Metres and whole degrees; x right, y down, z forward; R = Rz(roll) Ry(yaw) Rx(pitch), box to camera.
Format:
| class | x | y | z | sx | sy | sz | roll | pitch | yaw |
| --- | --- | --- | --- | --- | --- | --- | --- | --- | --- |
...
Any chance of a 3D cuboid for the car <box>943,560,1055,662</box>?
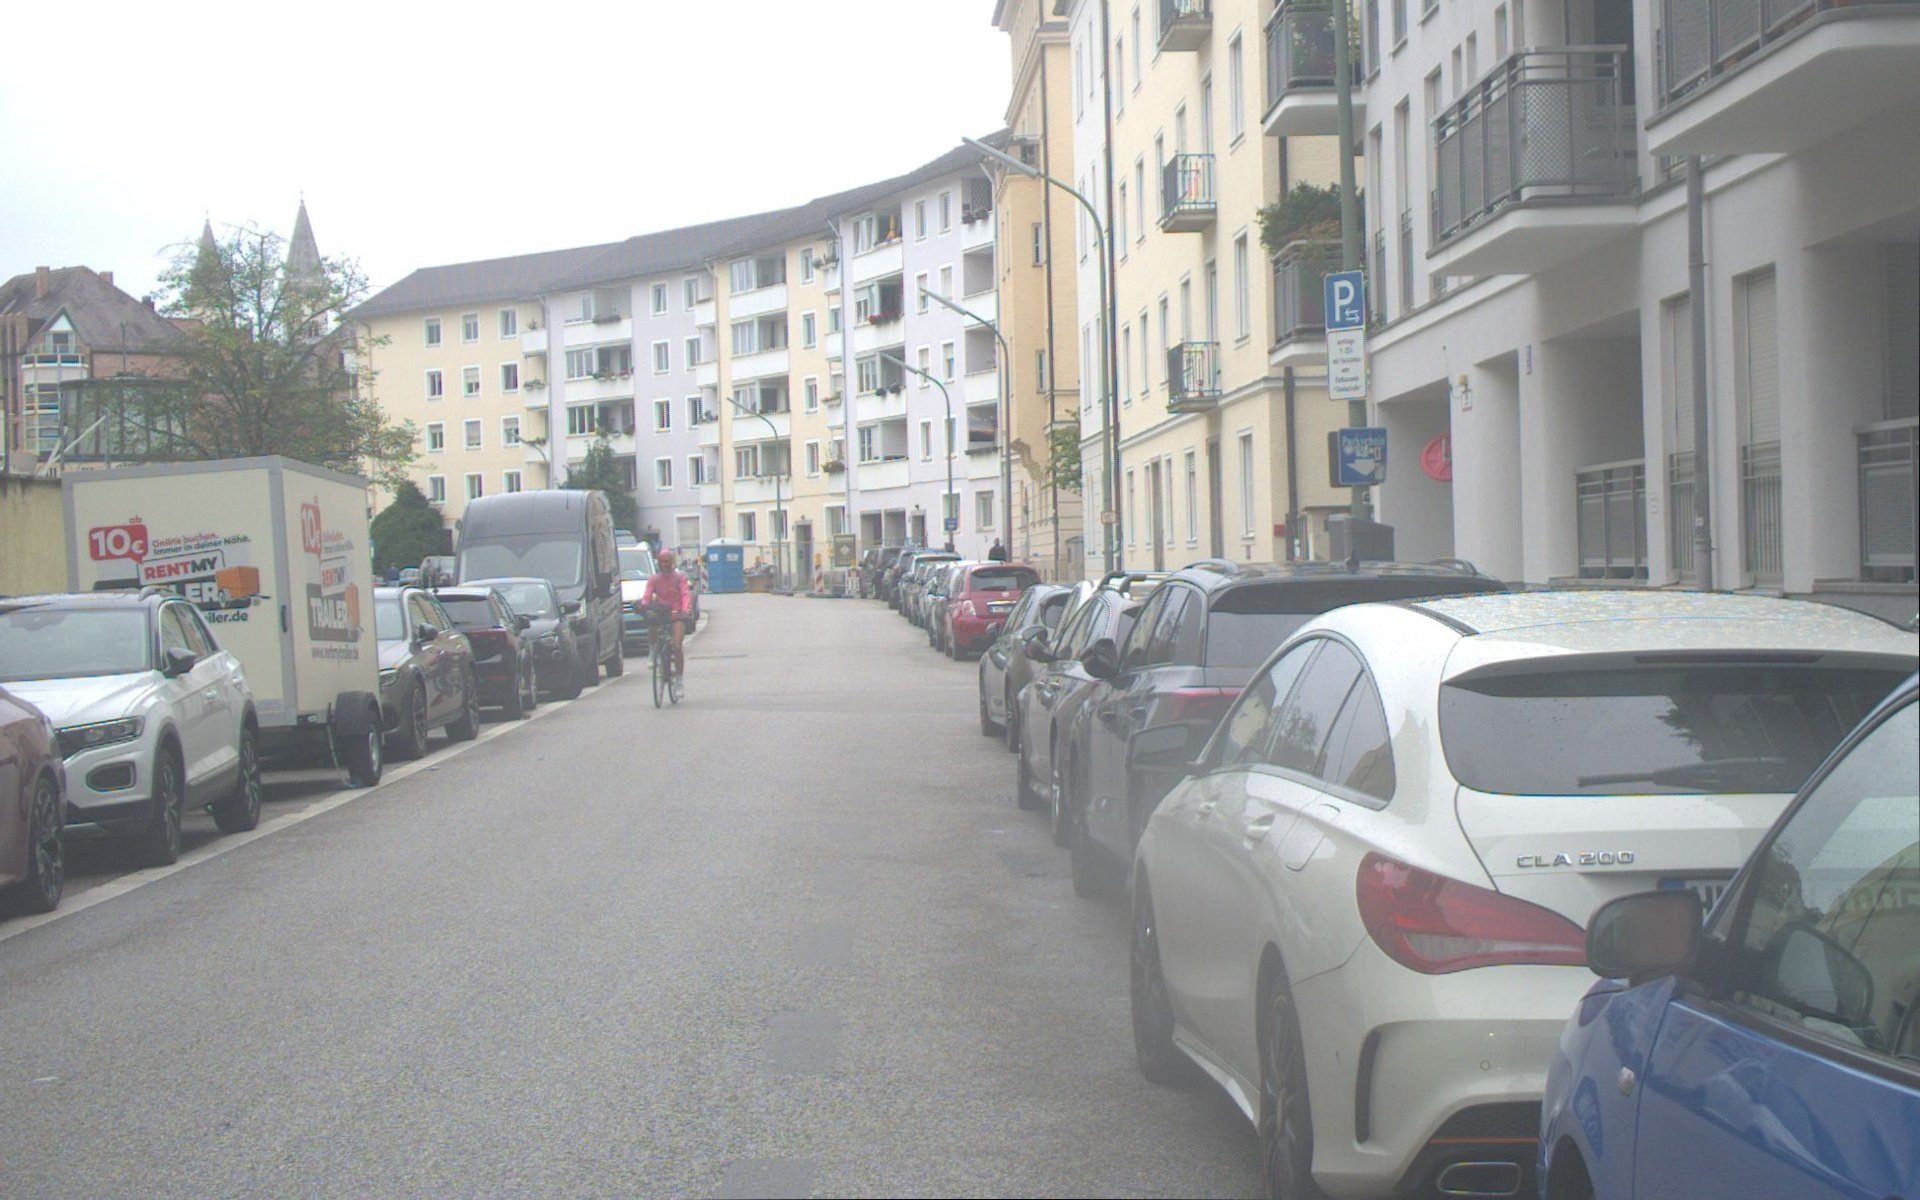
| class | x | y | z | sx | sy | sz | roll | pitch | yaw |
| --- | --- | --- | --- | --- | --- | --- | --- | --- | --- |
| car | 0.577 | 0.143 | 54.108 | 1.595 | 1.503 | 3.801 | -1 | 1 | -1 |

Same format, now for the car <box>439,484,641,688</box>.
| class | x | y | z | sx | sy | sz | roll | pitch | yaw |
| --- | --- | --- | --- | --- | --- | --- | --- | --- | --- |
| car | -5.758 | -0.244 | 47.774 | 2.088 | 2.627 | 5.377 | -1 | 1 | 0 |

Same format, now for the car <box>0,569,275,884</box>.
| class | x | y | z | sx | sy | sz | roll | pitch | yaw |
| --- | --- | --- | --- | --- | --- | --- | --- | --- | --- |
| car | -5.212 | 0.678 | 20.129 | 1.686 | 1.597 | 3.922 | -3 | 1 | -2 |

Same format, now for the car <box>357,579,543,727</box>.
| class | x | y | z | sx | sy | sz | roll | pitch | yaw |
| --- | --- | --- | --- | --- | --- | --- | --- | --- | --- |
| car | -5.537 | 0.541 | 37.692 | 1.700 | 1.441 | 3.825 | -1 | 1 | -4 |

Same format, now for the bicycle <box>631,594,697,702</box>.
| class | x | y | z | sx | sy | sz | roll | pitch | yaw |
| --- | --- | --- | --- | --- | --- | --- | --- | --- | --- |
| bicycle | -3.299 | 0.525 | 38.447 | 0.504 | 1.124 | 1.773 | -2 | 1 | 1 |

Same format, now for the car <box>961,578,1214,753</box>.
| class | x | y | z | sx | sy | sz | roll | pitch | yaw |
| --- | --- | --- | --- | --- | --- | --- | --- | --- | --- |
| car | 1.048 | 0.531 | 30.224 | 1.763 | 1.403 | 4.079 | -1 | 0 | -4 |

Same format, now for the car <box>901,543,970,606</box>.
| class | x | y | z | sx | sy | sz | roll | pitch | yaw |
| --- | --- | --- | --- | --- | --- | --- | --- | --- | --- |
| car | -0.662 | -0.681 | 89.316 | 1.590 | 1.577 | 4.300 | 0 | 1 | -3 |

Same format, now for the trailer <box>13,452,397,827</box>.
| class | x | y | z | sx | sy | sz | roll | pitch | yaw |
| --- | --- | --- | --- | --- | --- | --- | --- | --- | --- |
| trailer | -5.488 | 0.228 | 25.534 | 1.709 | 2.453 | 4.386 | -3 | 1 | 1 |

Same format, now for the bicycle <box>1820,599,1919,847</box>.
| class | x | y | z | sx | sy | sz | roll | pitch | yaw |
| --- | --- | --- | --- | --- | --- | --- | --- | --- | --- |
| bicycle | 4.878 | 0.593 | 16.885 | 0.627 | 1.156 | 2.128 | -2 | 1 | -4 |

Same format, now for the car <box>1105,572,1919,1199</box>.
| class | x | y | z | sx | sy | sz | roll | pitch | yaw |
| --- | --- | --- | --- | --- | --- | --- | --- | --- | --- |
| car | 1.388 | 0.673 | 8.506 | 1.658 | 1.435 | 4.207 | 1 | 1 | -3 |

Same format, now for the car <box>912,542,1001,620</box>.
| class | x | y | z | sx | sy | sz | roll | pitch | yaw |
| --- | --- | --- | --- | --- | --- | --- | --- | --- | --- |
| car | -0.100 | -0.411 | 69.929 | 1.599 | 1.486 | 3.799 | -1 | 1 | -3 |

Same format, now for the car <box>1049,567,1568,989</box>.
| class | x | y | z | sx | sy | sz | roll | pitch | yaw |
| --- | --- | --- | --- | --- | --- | --- | --- | --- | --- |
| car | 1.340 | 0.641 | 14.692 | 1.603 | 1.525 | 3.985 | 1 | 1 | -3 |

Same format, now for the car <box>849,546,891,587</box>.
| class | x | y | z | sx | sy | sz | roll | pitch | yaw |
| --- | --- | --- | --- | --- | --- | --- | --- | --- | --- |
| car | -2.923 | -1.095 | 111.064 | 1.272 | 1.294 | 2.798 | -1 | 1 | -3 |

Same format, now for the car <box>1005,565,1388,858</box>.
| class | x | y | z | sx | sy | sz | roll | pitch | yaw |
| --- | --- | --- | --- | --- | --- | --- | --- | --- | --- |
| car | 1.295 | 0.573 | 20.626 | 1.734 | 1.525 | 4.622 | 1 | 1 | -3 |

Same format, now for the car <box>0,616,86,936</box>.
| class | x | y | z | sx | sy | sz | roll | pitch | yaw |
| --- | --- | --- | --- | --- | --- | --- | --- | --- | --- |
| car | -5.193 | 0.836 | 14.840 | 1.860 | 1.408 | 4.334 | -3 | 0 | -3 |

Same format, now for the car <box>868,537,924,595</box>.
| class | x | y | z | sx | sy | sz | roll | pitch | yaw |
| --- | --- | --- | --- | --- | --- | --- | --- | --- | --- |
| car | -1.861 | -1.000 | 99.510 | 1.474 | 1.635 | 4.001 | 0 | 1 | -3 |

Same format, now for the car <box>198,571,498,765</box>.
| class | x | y | z | sx | sy | sz | roll | pitch | yaw |
| --- | --- | --- | --- | --- | --- | --- | --- | --- | --- |
| car | -5.486 | 0.556 | 31.357 | 1.766 | 1.533 | 4.541 | -3 | 0 | 1 |

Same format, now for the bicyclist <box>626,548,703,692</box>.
| class | x | y | z | sx | sy | sz | roll | pitch | yaw |
| --- | --- | --- | --- | --- | --- | --- | --- | --- | --- |
| bicyclist | -3.304 | 0.211 | 38.457 | 0.694 | 1.556 | 0.966 | -2 | 1 | 1 |

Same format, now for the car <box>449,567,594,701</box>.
| class | x | y | z | sx | sy | sz | roll | pitch | yaw |
| --- | --- | --- | --- | --- | --- | --- | --- | --- | --- |
| car | -5.412 | 0.388 | 42.715 | 1.585 | 1.533 | 3.544 | -2 | 1 | -5 |

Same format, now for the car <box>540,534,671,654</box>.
| class | x | y | z | sx | sy | sz | roll | pitch | yaw |
| --- | --- | --- | --- | --- | --- | --- | --- | --- | --- |
| car | -6.196 | -0.151 | 60.553 | 1.882 | 1.925 | 4.601 | -3 | 1 | -2 |

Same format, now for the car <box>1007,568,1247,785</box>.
| class | x | y | z | sx | sy | sz | roll | pitch | yaw |
| --- | --- | --- | --- | --- | --- | --- | --- | --- | --- |
| car | 1.211 | 0.526 | 26.155 | 1.519 | 1.525 | 3.527 | 0 | 1 | -2 |

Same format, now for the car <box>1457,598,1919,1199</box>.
| class | x | y | z | sx | sy | sz | roll | pitch | yaw |
| --- | --- | --- | --- | --- | --- | --- | --- | --- | --- |
| car | 1.751 | 0.723 | 4.047 | 1.618 | 1.407 | 3.554 | 1 | 0 | -3 |
